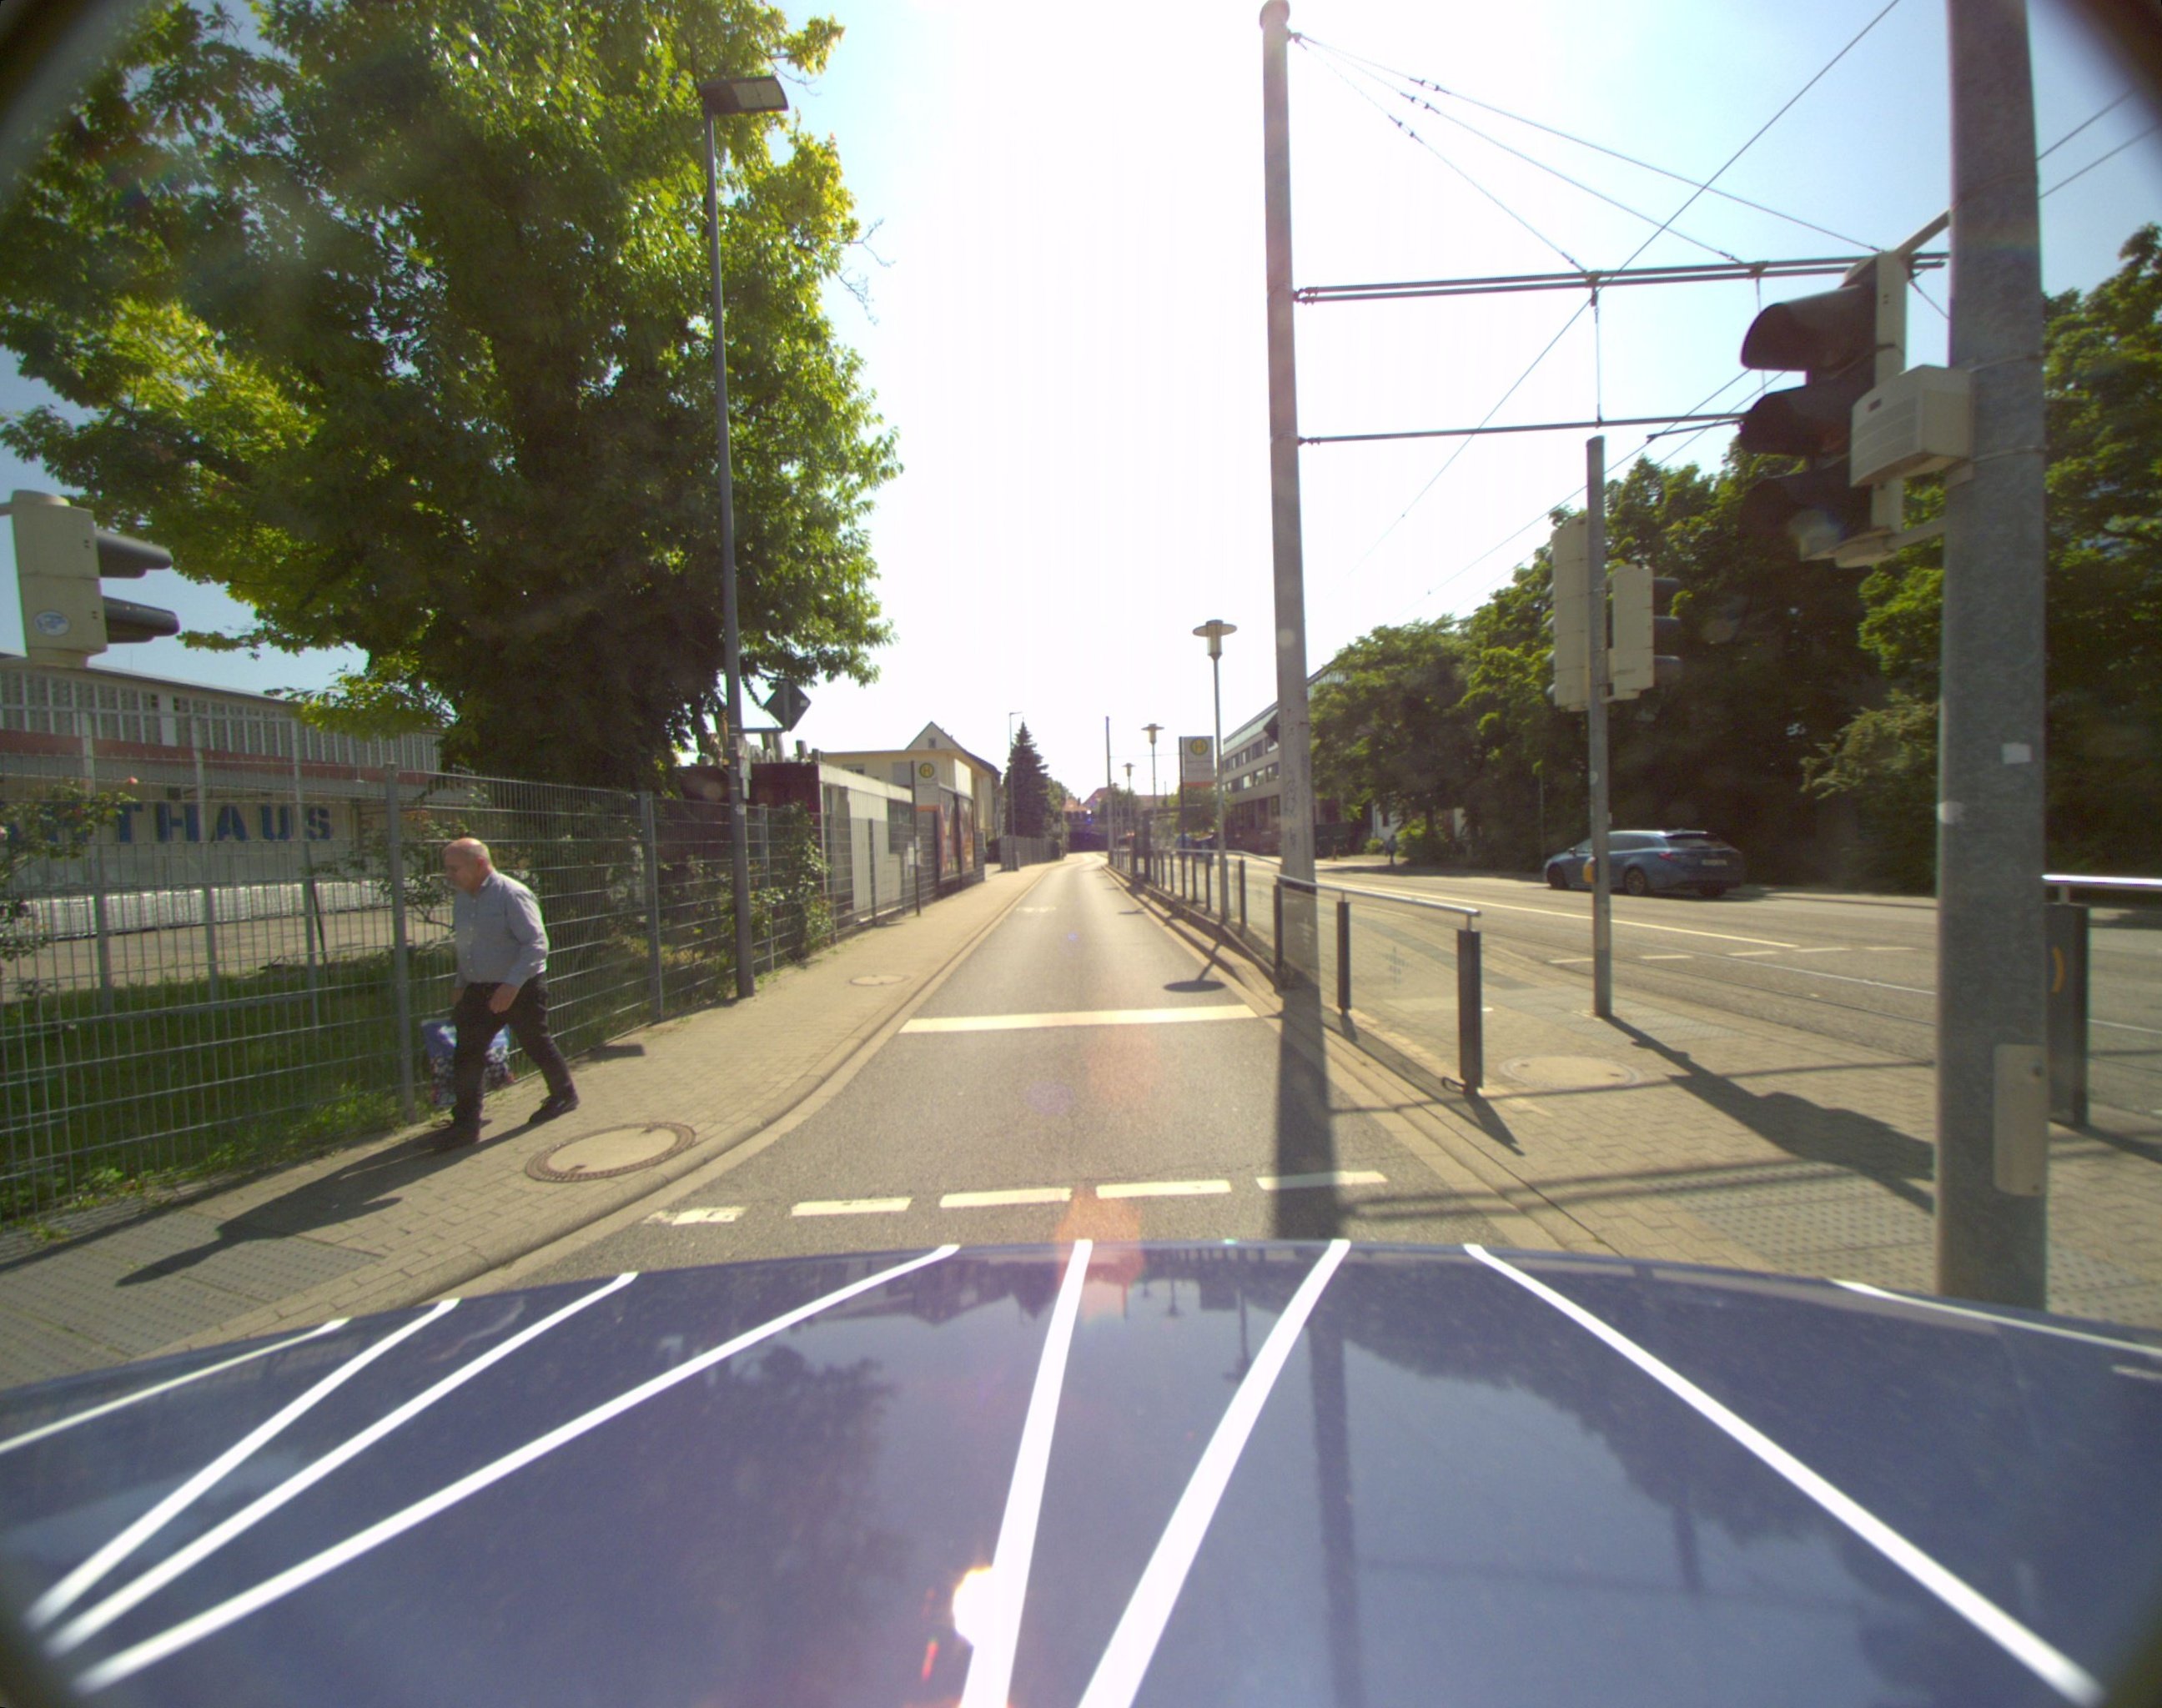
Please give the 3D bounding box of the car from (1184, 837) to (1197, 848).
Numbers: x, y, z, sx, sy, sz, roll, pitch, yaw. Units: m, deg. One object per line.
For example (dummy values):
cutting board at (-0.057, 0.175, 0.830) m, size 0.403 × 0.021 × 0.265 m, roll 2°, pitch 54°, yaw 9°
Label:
car at (17.461, -1.830, 120.988) m, size 1.870 × 1.609 × 4.001 m, roll -1°, pitch 1°, yaw 7°

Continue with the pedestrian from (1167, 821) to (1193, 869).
pedestrian at (3.606, -0.324, 27.726) m, size 0.726 × 1.715 × 0.944 m, roll -3°, pitch 1°, yaw 0°

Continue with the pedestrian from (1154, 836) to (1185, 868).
pedestrian at (3.123, -0.069, 26.921) m, size 0.945 × 1.093 × 0.726 m, roll -3°, pitch 1°, yaw -1°

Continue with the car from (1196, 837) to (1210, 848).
car at (18.214, -1.707, 113.478) m, size 1.997 × 1.613 × 4.001 m, roll -1°, pitch 1°, yaw 7°

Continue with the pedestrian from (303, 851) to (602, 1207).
pedestrian at (-3.292, 0.839, 4.093) m, size 0.815 × 1.690 × 0.887 m, roll -1°, pitch 1°, yaw -2°

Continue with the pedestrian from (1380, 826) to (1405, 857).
pedestrian at (15.626, -0.646, 38.153) m, size 0.873 × 1.518 × 0.845 m, roll -2°, pitch 1°, yaw -1°

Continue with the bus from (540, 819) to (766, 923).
bus at (-15.597, 0.320, 29.068) m, size 2.572 × 3.154 × 10.263 m, roll -2°, pitch 3°, yaw 1°

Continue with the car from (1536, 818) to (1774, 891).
car at (12.692, -0.013, 17.273) m, size 1.911 × 1.434 × 4.594 m, roll 0°, pitch 1°, yaw 0°

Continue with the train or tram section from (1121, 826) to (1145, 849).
train or tram section at (8.163, -2.596, 120.275) m, size 2.680 × 3.464 × 12.324 m, roll -2°, pitch 1°, yaw -1°

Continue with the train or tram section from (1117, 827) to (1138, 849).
train or tram section at (8.071, -2.790, 133.064) m, size 2.680 × 3.464 × 13.386 m, roll -2°, pitch 1°, yaw 0°
